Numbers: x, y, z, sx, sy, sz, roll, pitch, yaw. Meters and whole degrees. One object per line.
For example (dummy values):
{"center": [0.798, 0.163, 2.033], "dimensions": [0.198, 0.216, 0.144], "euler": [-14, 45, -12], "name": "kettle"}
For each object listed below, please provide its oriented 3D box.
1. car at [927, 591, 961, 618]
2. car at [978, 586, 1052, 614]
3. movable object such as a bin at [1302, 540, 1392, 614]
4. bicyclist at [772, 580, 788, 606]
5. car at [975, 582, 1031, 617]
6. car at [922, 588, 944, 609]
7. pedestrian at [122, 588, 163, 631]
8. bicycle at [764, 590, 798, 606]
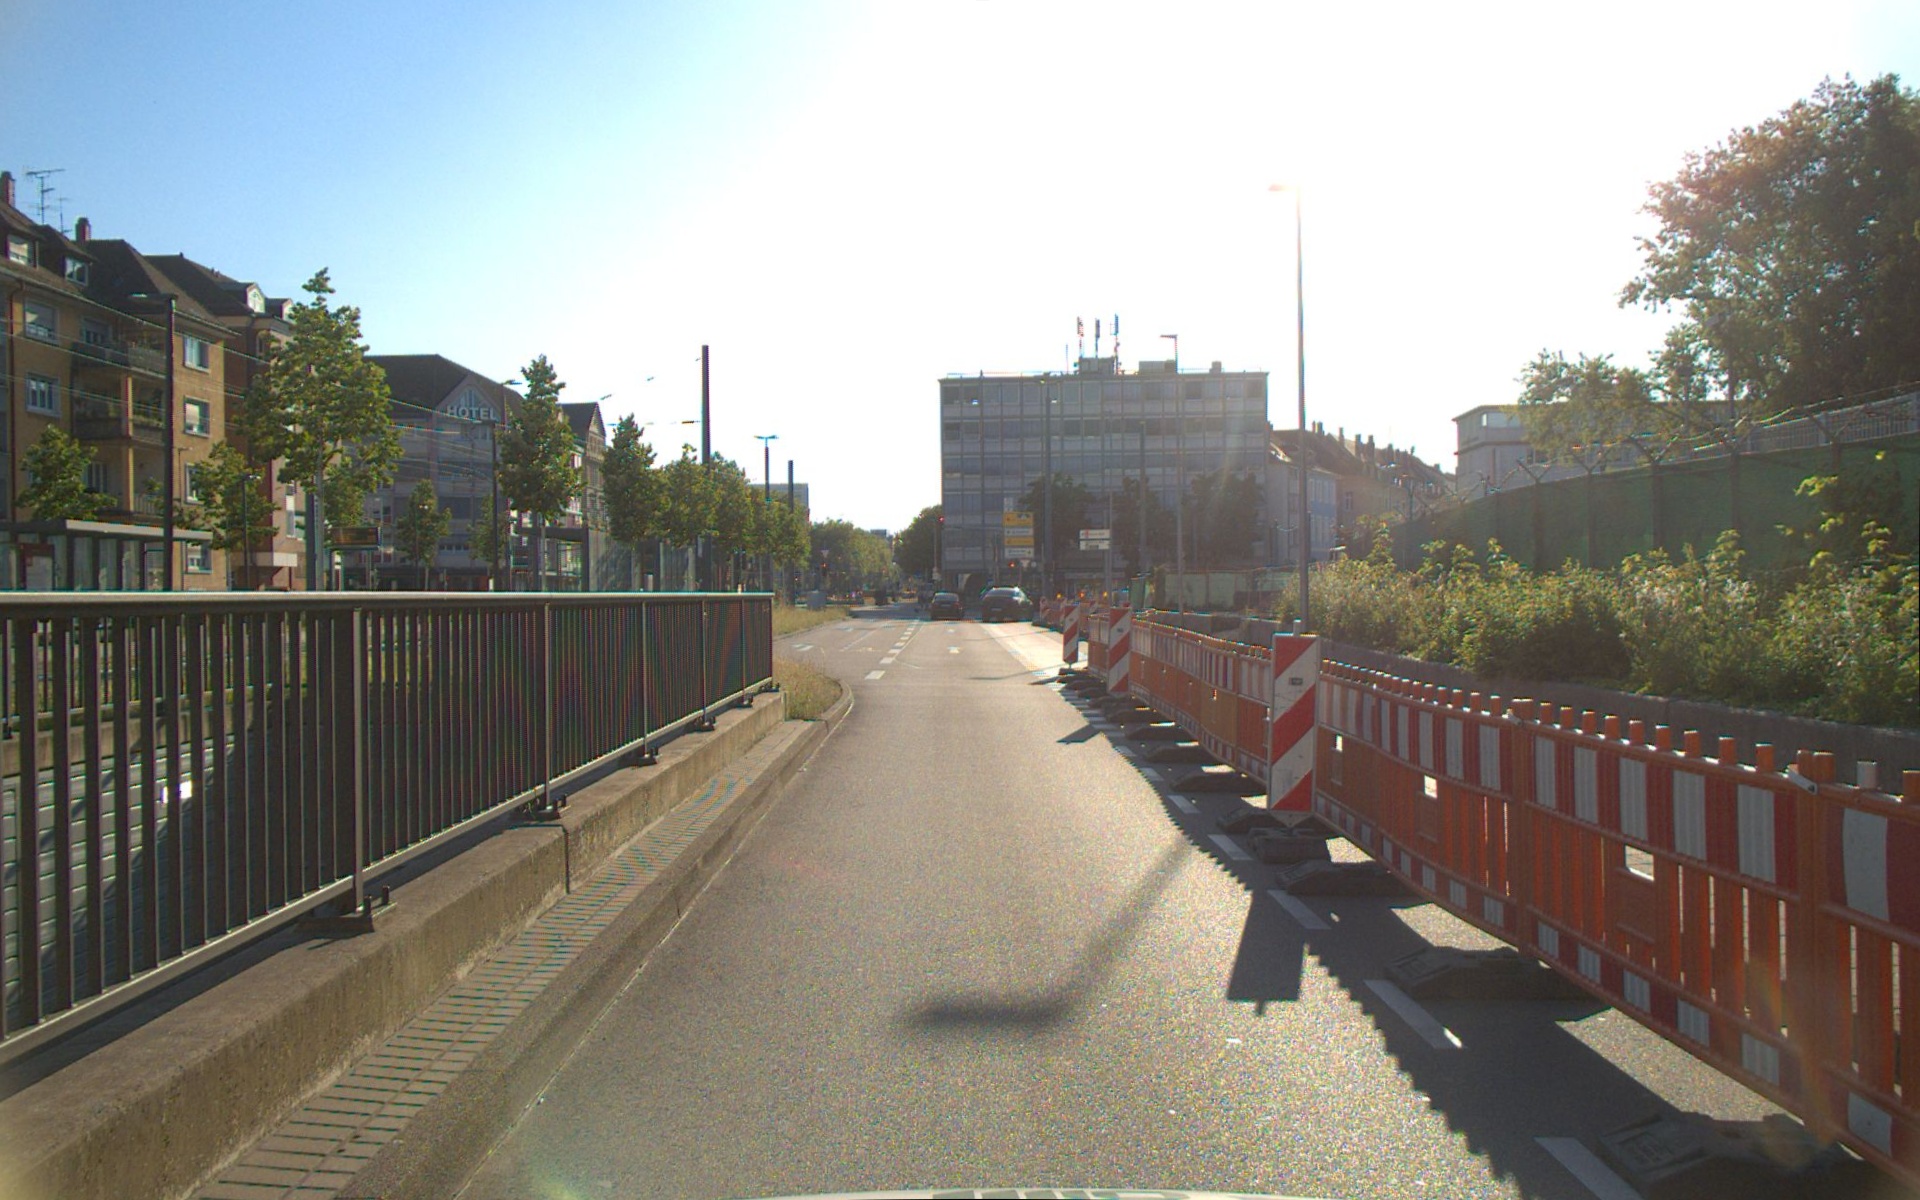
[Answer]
{"center": [-0.900, 0.231, 89.996], "dimensions": [1.708, 1.451, 3.998], "euler": [0, 0, -2], "name": "car"}
{"center": [3.683, -0.007, 110.835], "dimensions": [4.715, 1.780, 2.002], "euler": [0, 0, 11], "name": "car"}
{"center": [15.009, -0.873, 64.414], "dimensions": [2.230, 2.751, 4.941], "euler": [-1, 0, -1], "name": "movable object such as a bin"}
{"center": [-11.927, -0.447, 109.664], "dimensions": [0.939, 1.690, 0.691], "euler": [0, 0, 2], "name": "bicyclist"}
{"center": [2.271, -0.052, 86.751], "dimensions": [1.951, 1.723, 4.003], "euler": [1, 2, 17], "name": "car"}
{"center": [-3.232, -0.168, 194.347], "dimensions": [2.436, 2.434, 5.932], "euler": [-2, 0, -2], "name": "car"}
{"center": [-20.628, 0.243, 41.748], "dimensions": [0.614, 1.065, 0.794], "euler": [-1, 0, -1], "name": "pedestrian"}
{"center": [-11.857, -0.116, 109.663], "dimensions": [2.180, 1.044, 0.682], "euler": [0, 0, 2], "name": "bicycle"}
